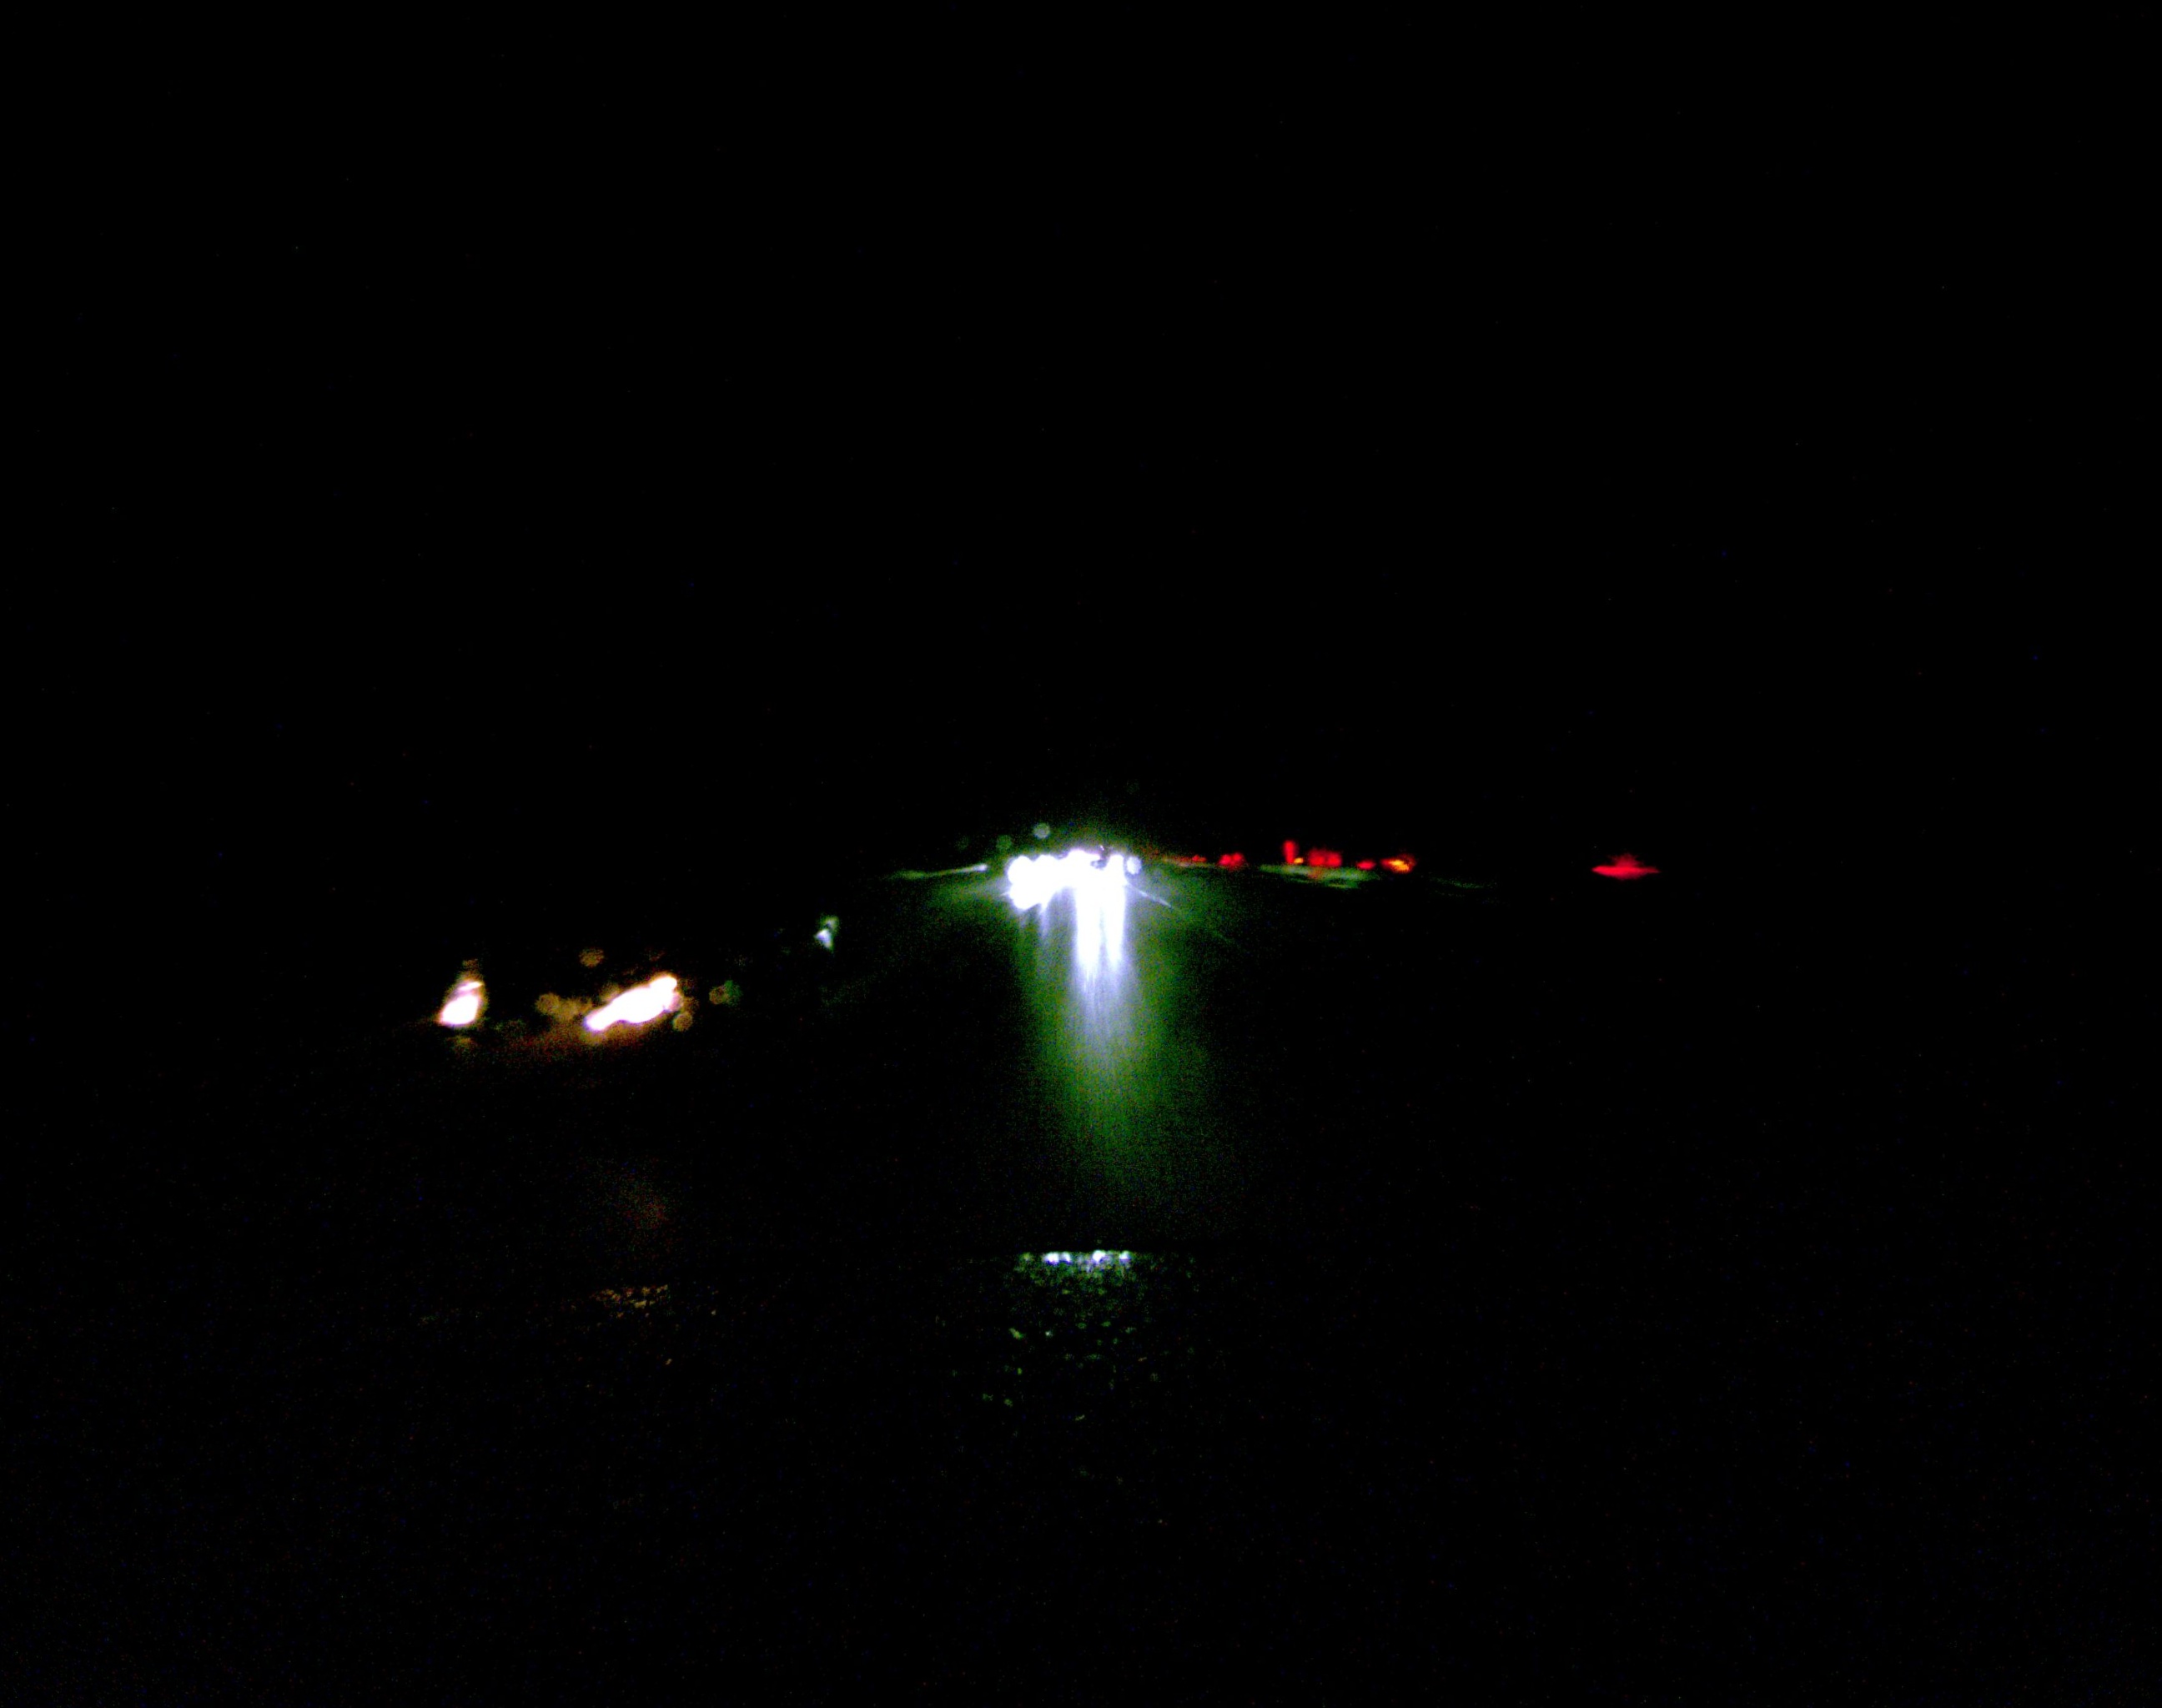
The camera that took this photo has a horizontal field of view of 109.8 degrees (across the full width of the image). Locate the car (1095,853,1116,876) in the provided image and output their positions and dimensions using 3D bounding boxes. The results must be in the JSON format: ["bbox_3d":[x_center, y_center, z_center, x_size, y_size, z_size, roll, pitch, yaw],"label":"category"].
[{"bbox_3d":[2.026,0.874,63.845,1.611,1.775,3.910,-2,1,1],"label":"car"}]

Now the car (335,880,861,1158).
[{"bbox_3d":[-3.486,1.060,6.618,1.774,1.449,4.195,-2,0,1],"label":"car"}]

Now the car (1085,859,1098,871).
[{"bbox_3d":[1.406,1.462,102.741,1.755,1.563,4.000,-2,1,1],"label":"car"}]

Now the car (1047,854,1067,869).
[{"bbox_3d":[-2.963,0.902,93.699,1.998,1.590,4.653,-2,1,3],"label":"car"}]

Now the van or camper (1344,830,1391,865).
[{"bbox_3d":[32.859,-0.740,87.389,2.520,3.679,7.679,-2,1,1],"label":"van or camper"}]

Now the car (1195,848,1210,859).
[{"bbox_3d":[22.956,-0.077,143.699,2.079,1.879,5.268,-2,1,1],"label":"car"}]

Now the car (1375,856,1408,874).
[{"bbox_3d":[28.025,0.946,68.612,1.547,1.492,3.461,-2,1,1],"label":"car"}]

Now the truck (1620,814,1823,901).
[{"bbox_3d":[25.055,0.091,30.251,2.457,2.982,6.701,-2,1,1],"label":"truck"}]

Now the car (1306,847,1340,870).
[{"bbox_3d":[21.991,0.394,69.166,1.795,2.002,3.999,-2,1,1],"label":"car"}]

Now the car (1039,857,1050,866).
[{"bbox_3d":[-6.691,1.393,141.302,1.755,1.563,4.000,-2,1,1],"label":"car"}]

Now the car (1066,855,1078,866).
[{"bbox_3d":[-1.584,1.191,137.615,1.998,1.852,4.000,-2,1,1],"label":"car"}]

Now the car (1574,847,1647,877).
[{"bbox_3d":[32.229,0.428,46.362,1.767,1.663,3.886,-2,1,1],"label":"car"}]

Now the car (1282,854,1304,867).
[{"bbox_3d":[28.254,0.855,101.325,1.680,1.618,4.204,-2,1,1],"label":"car"}]

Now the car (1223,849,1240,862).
[{"bbox_3d":[22.428,0.158,113.349,1.668,1.788,4.756,-2,1,1],"label":"car"}]

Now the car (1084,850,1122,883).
[{"bbox_3d":[1.208,0.650,42.721,1.960,1.655,4.915,-2,0,1],"label":"car"}]

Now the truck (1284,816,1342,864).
[{"bbox_3d":[33.999,-2.026,112.296,3.231,6.375,17.301,-2,1,1],"label":"truck"}]

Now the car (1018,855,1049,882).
[{"bbox_3d":[-3.309,0.985,53.113,1.792,1.681,3.999,-2,1,1],"label":"car"}]
